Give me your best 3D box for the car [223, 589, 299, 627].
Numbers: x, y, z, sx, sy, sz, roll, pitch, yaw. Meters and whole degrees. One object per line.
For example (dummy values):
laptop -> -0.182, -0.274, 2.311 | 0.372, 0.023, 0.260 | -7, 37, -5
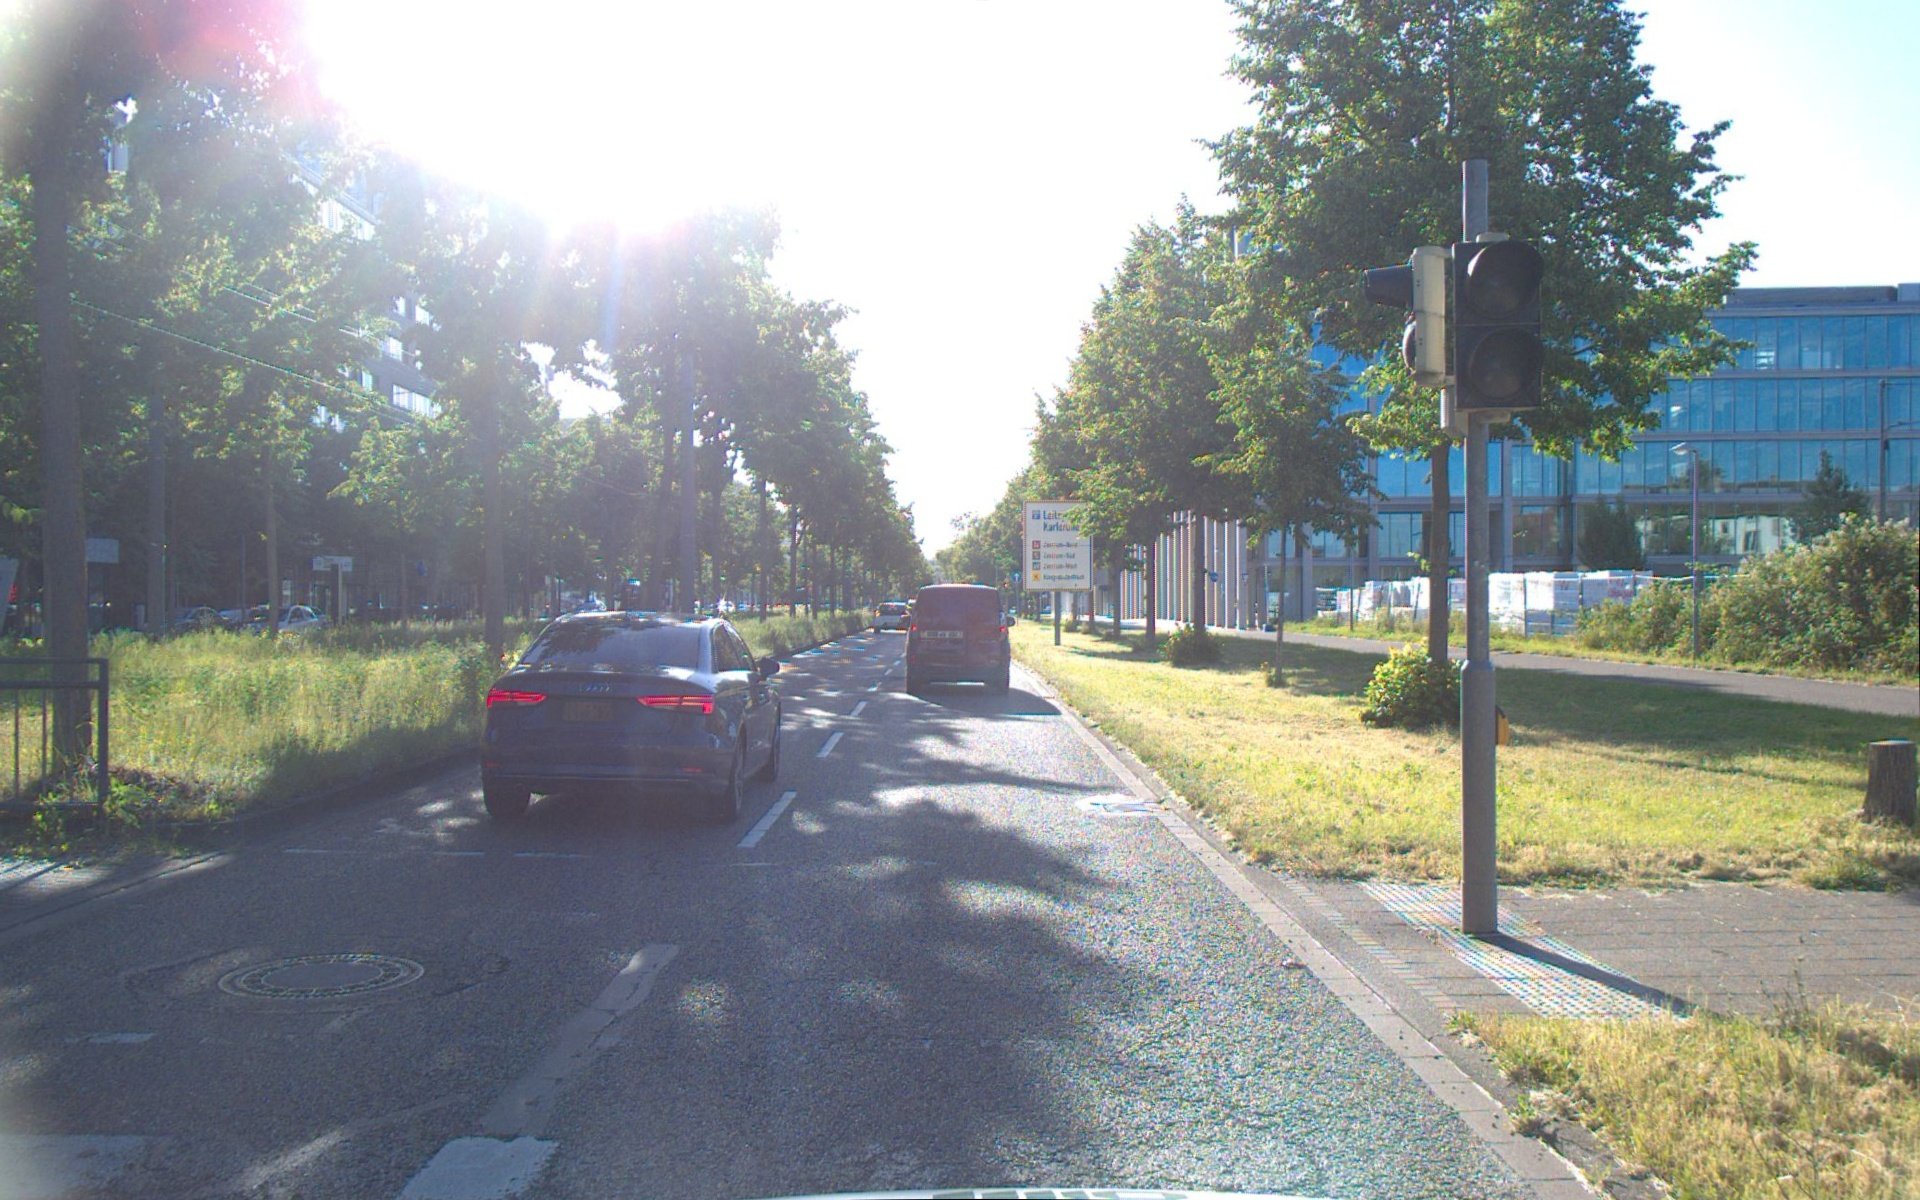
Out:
car -> -35.332, 0.386, 83.772 | 1.761, 1.808, 5.127 | 1, 1, -2

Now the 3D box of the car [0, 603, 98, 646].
car -> -30.850, 0.792, 55.686 | 1.698, 1.378, 3.753 | 0, 0, -1

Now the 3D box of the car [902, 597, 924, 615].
car -> -4.172, 0.493, 146.881 | 1.805, 1.561, 3.940 | -1, 0, 1

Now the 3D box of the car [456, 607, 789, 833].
car -> -2.307, 0.766, 12.337 | 1.686, 1.390, 4.144 | 1, -1, -1

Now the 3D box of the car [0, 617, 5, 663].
car -> -30.960, 1.272, 49.839 | 1.634, 1.444, 4.804 | 0, 0, -1

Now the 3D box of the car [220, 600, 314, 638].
car -> -23.910, 0.628, 57.166 | 1.732, 1.260, 3.485 | 0, 0, 1

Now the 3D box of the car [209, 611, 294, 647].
car -> -30.992, 1.248, 72.481 | 1.680, 1.445, 4.545 | -1, 0, 1

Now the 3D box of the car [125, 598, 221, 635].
car -> -31.320, 0.631, 65.965 | 1.680, 1.445, 4.544 | 0, 0, 0

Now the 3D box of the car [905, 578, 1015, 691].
car -> -0.054, 0.556, 28.735 | 1.761, 1.808, 3.999 | -1, 0, -2

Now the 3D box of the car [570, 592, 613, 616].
car -> -22.828, 0.235, 102.660 | 1.761, 1.314, 4.310 | -1, 1, -1

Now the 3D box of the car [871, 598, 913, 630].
car -> -3.227, 0.632, 78.609 | 1.903, 1.466, 3.998 | 0, 0, -2
